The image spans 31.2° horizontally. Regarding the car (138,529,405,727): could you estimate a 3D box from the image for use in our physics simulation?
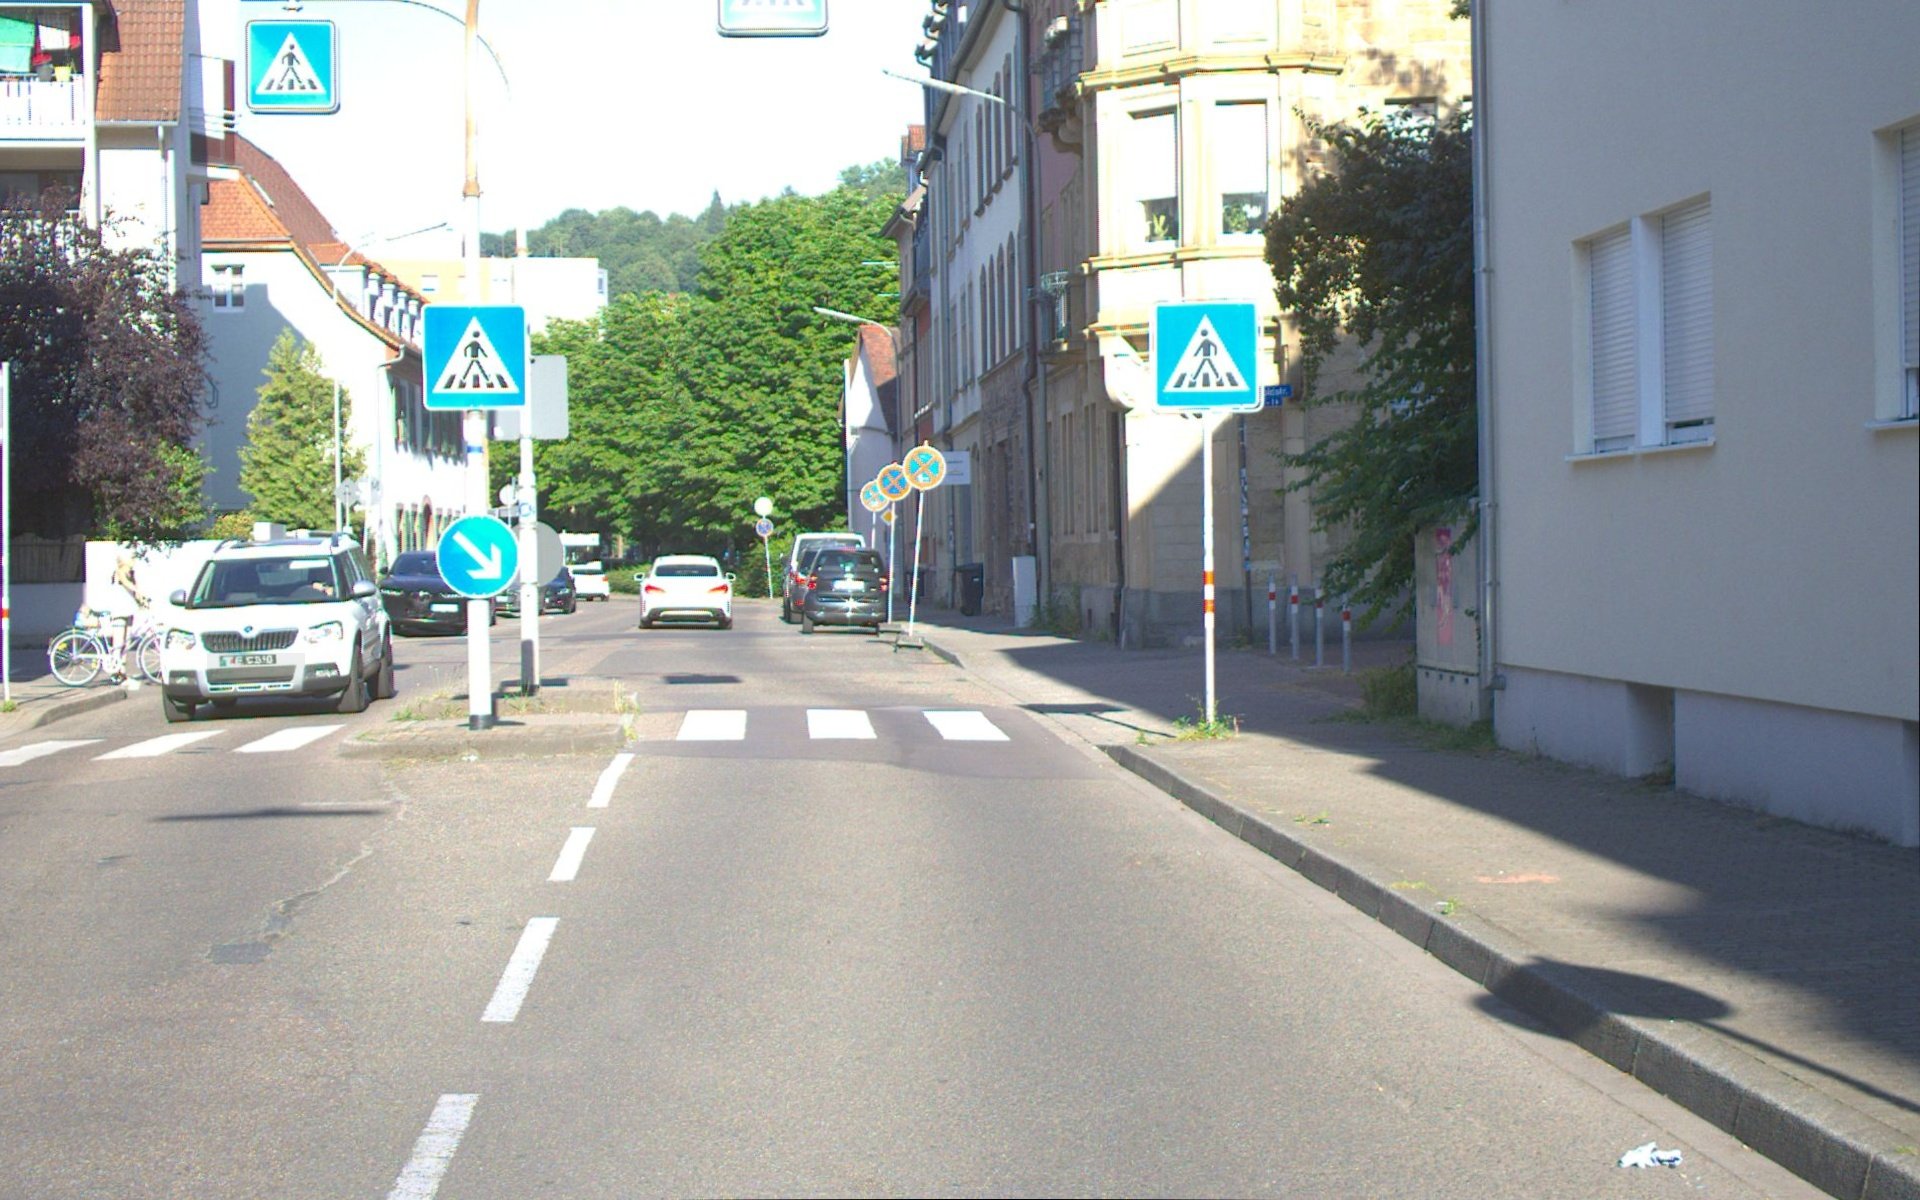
[{"bbox_3d":[-6.547,0.210,33.097,1.807,1.695,4.192,-2,1,-2],"label":"car"}]

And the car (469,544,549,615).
[{"bbox_3d":[-12.144,-0.566,92.716,1.910,1.754,4.129,-2,2,-5],"label":"car"}]

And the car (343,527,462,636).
[{"bbox_3d":[-10.616,-0.386,65.696,1.993,2.007,4.001,-1,1,-6],"label":"car"}]

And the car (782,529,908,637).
[{"bbox_3d":[-2.095,-0.344,61.698,2.010,1.846,4.001,0,2,-5],"label":"car"}]

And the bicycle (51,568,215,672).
[{"bbox_3d":[-9.861,0.237,41.034,1.786,1.180,0.599,-2,1,-3],"label":"bicycle"}]

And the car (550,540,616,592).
[{"bbox_3d":[-14.949,-1.354,136.220,1.993,2.007,4.001,-1,1,-15],"label":"car"}]

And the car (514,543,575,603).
[{"bbox_3d":[-12.278,-0.812,101.796,1.630,1.625,3.175,-2,2,-5],"label":"car"}]

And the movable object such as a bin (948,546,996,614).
[{"bbox_3d":[0.248,-0.424,72.657,0.871,1.373,0.685,-3,2,-8],"label":"movable object such as a bin"}]

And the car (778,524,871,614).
[{"bbox_3d":[-3.101,-0.725,77.951,1.841,1.899,4.001,-2,2,-5],"label":"car"}]

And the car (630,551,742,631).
[{"bbox_3d":[-5.380,-0.202,67.067,1.993,1.461,4.001,-2,1,-7],"label":"car"}]

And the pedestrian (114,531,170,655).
[{"bbox_3d":[-9.871,-0.087,41.481,0.556,1.467,0.601,-2,1,-8],"label":"pedestrian"}]

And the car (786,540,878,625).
[{"bbox_3d":[-2.707,-0.396,73.050,1.818,1.625,4.001,-2,2,-2],"label":"car"}]
